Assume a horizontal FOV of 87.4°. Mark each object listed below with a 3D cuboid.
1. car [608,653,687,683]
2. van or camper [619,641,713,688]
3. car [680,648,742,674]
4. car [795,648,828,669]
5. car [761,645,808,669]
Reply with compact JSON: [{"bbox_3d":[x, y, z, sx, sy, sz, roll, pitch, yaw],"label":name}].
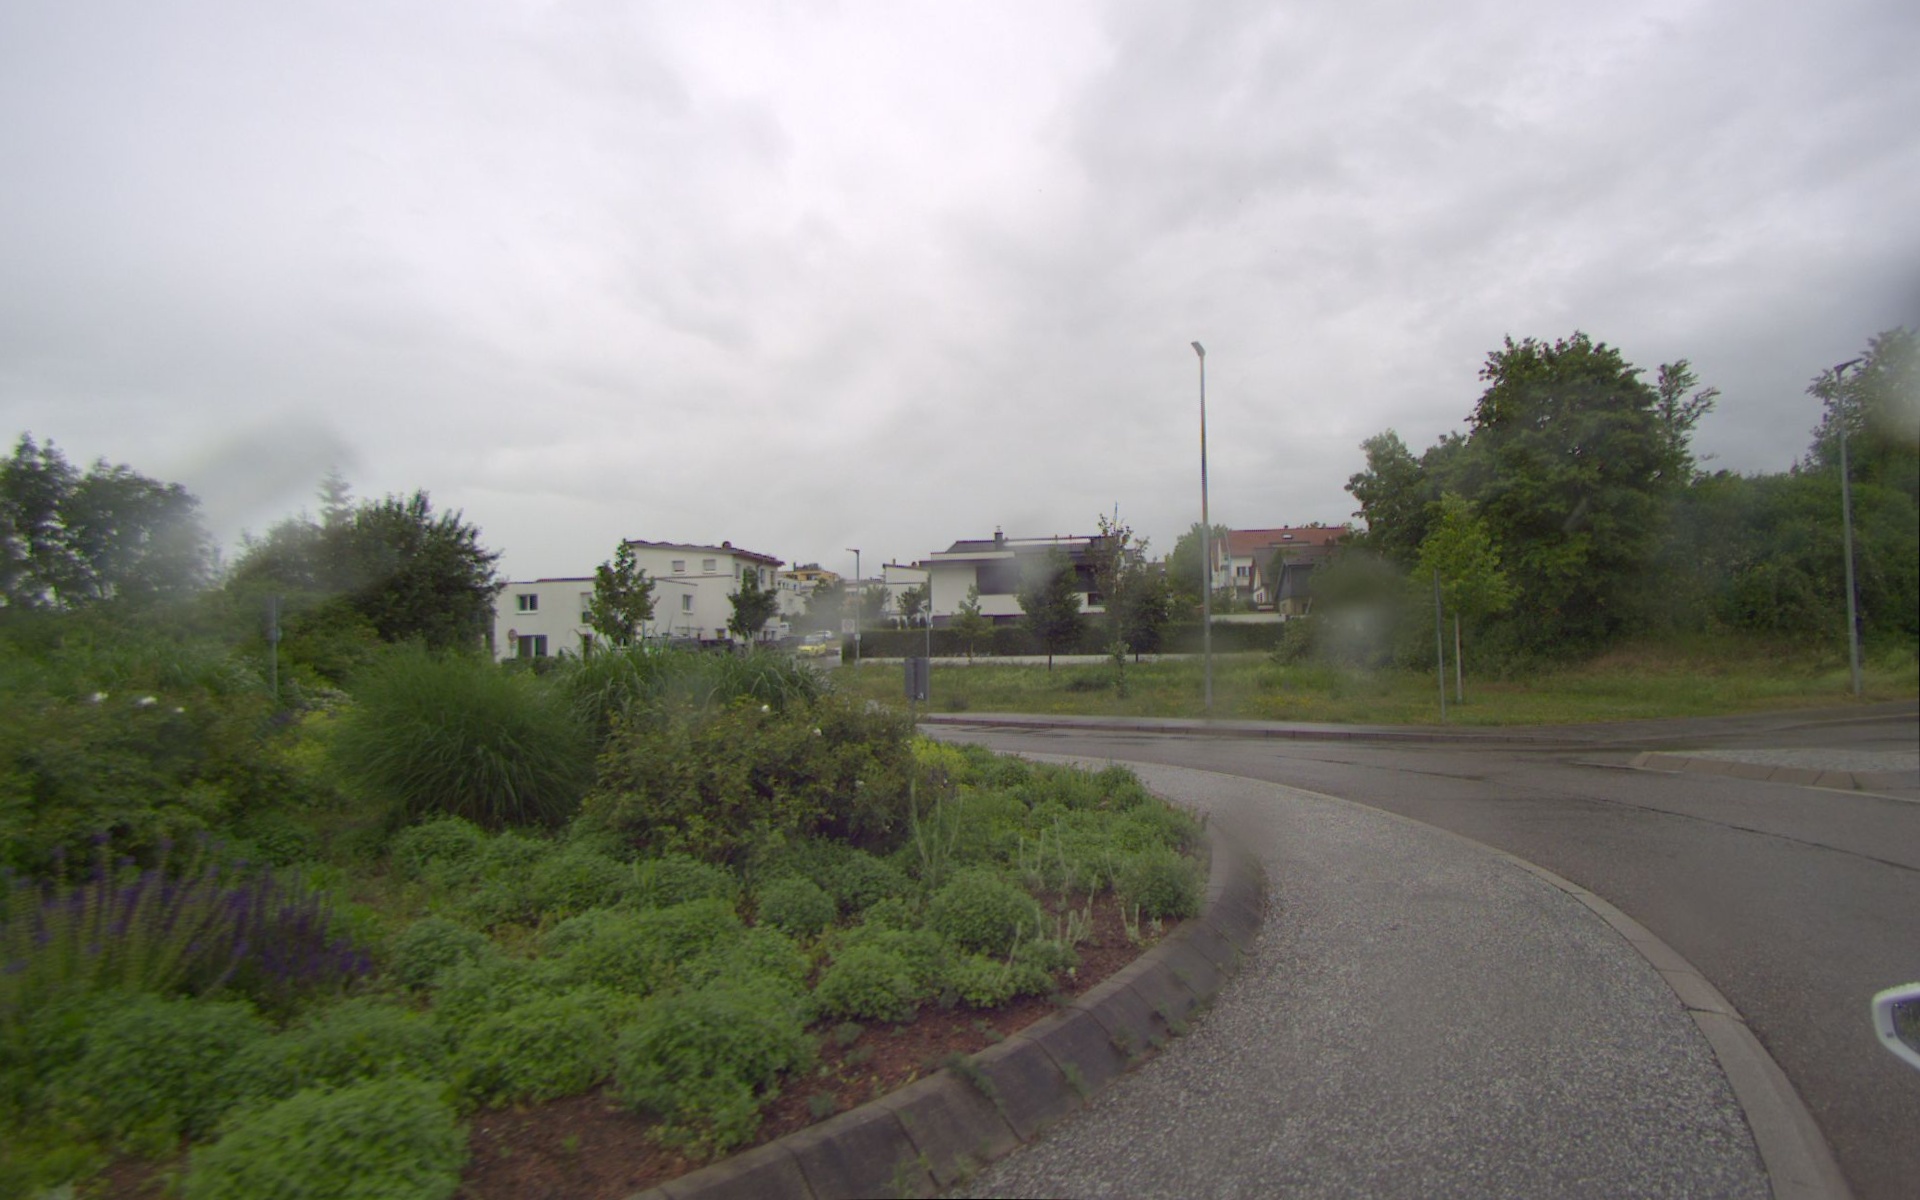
[{"bbox_3d":[-20.593,4.471,66.289,4.576,1.770,2.023,-2,-3,8],"label":"car"},{"bbox_3d":[-16.691,3.620,57.379,2.480,2.526,6.213,-1,-2,12],"label":"van or camper"},{"bbox_3d":[-18.656,4.587,75.387,4.129,1.864,1.792,0,-3,3],"label":"car"},{"bbox_3d":[-12.266,4.800,83.200,1.652,1.679,3.579,-1,-3,10],"label":"car"},{"bbox_3d":[-14.955,4.859,85.632,3.641,2.039,1.757,0,-3,3],"label":"car"}]
